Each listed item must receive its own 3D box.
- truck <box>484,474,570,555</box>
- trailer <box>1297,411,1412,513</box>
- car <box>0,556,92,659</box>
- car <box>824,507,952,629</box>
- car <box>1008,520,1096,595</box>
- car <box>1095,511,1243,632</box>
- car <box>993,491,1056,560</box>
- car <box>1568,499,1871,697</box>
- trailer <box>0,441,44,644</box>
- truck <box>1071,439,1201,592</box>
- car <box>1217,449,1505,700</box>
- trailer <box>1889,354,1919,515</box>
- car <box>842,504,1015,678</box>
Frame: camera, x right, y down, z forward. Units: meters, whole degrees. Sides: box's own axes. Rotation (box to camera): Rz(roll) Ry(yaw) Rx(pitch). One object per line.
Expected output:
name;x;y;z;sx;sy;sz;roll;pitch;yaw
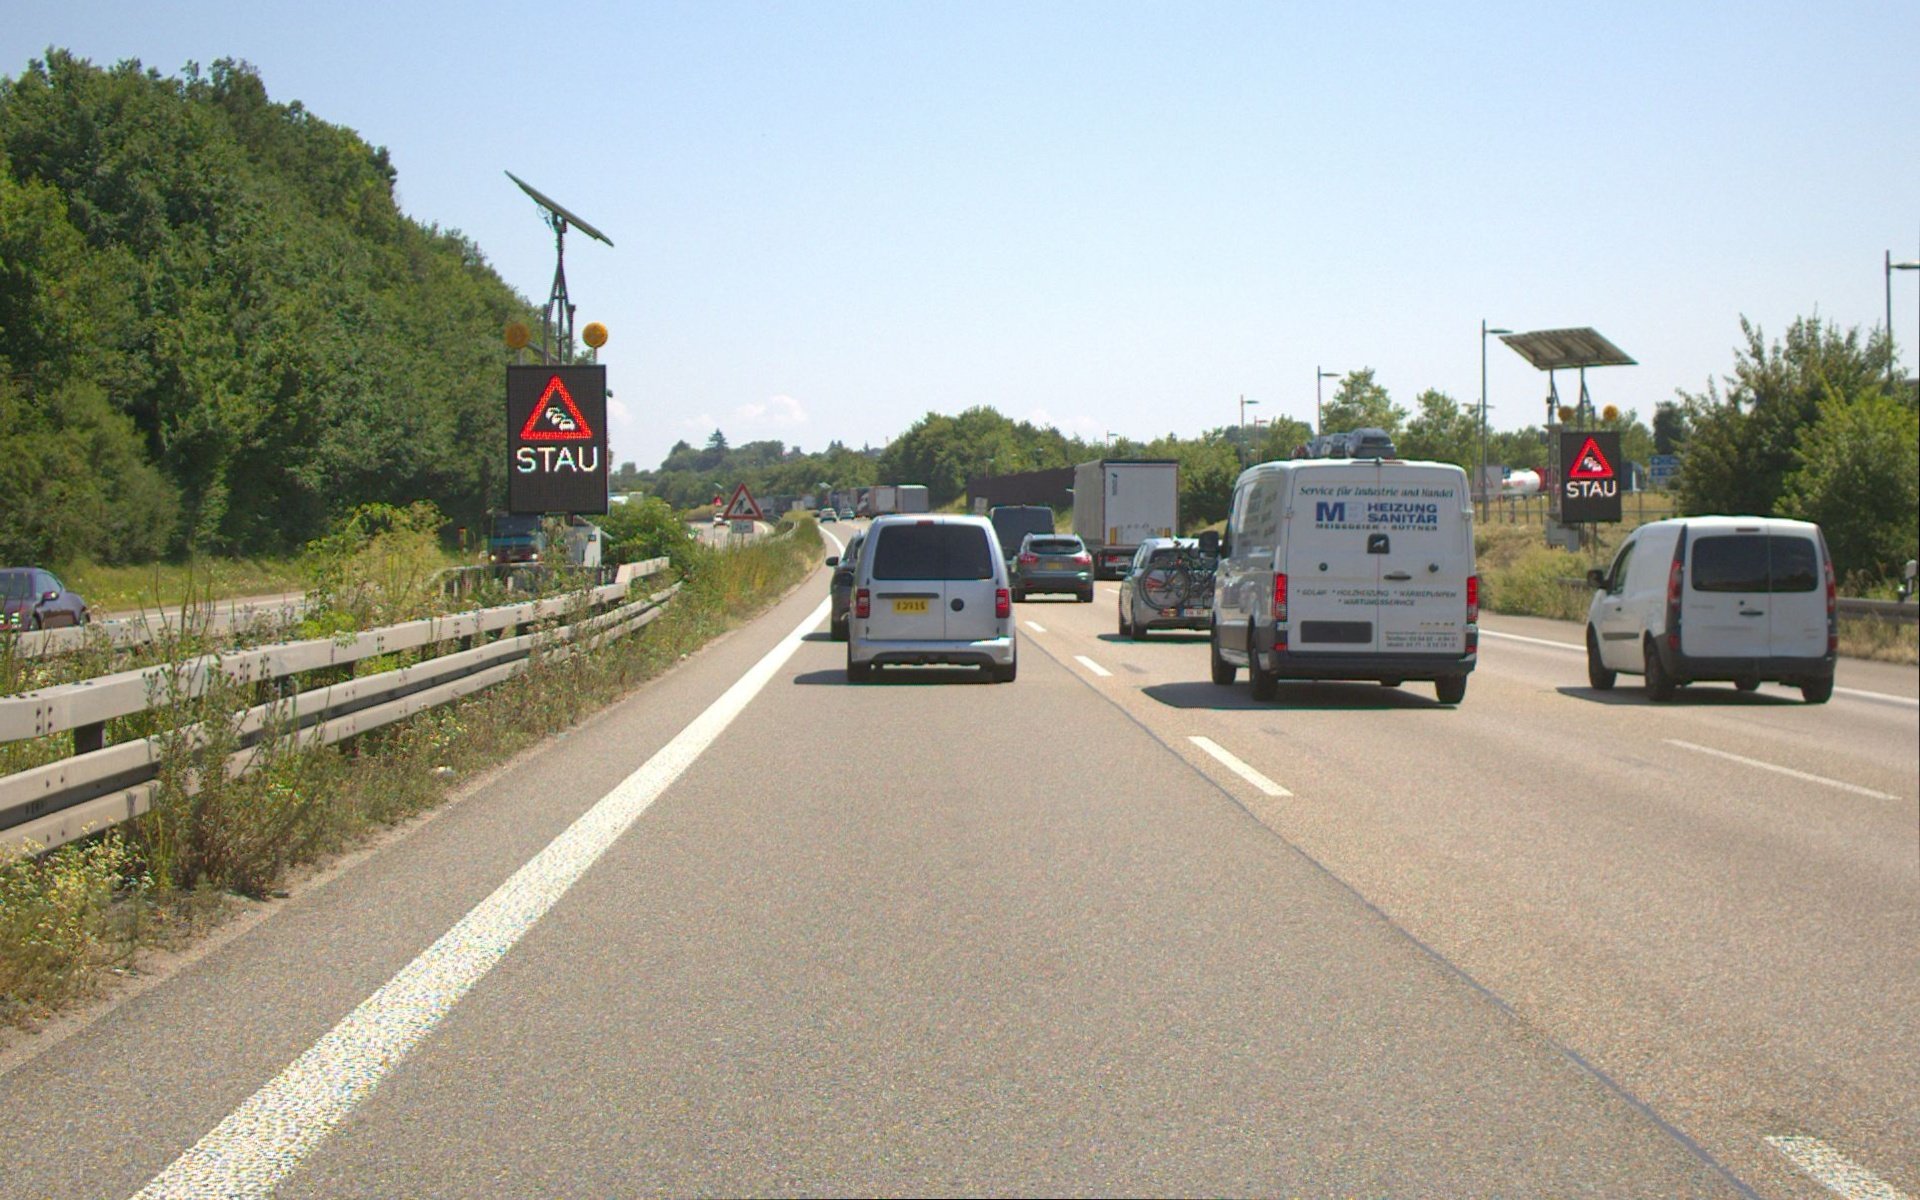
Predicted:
truck;-21.090;-4.161;167.883;2.996;3.789;10.790;-1;1;-1
trailer;18.028;-6.223;158.368;2.605;4.243;18.424;1;1;-2
car;-13.621;0.095;48.448;1.769;1.330;4.922;-2;1;-3
car;-1.023;-0.490;50.793;1.745;1.695;4.089;-1;1;0
car;2.112;-1.006;79.996;1.902;1.666;4.089;-1;1;0
car;3.117;-0.445;51.993;1.976;1.727;4.089;-1;1;0
car;1.812;-2.115;97.845;1.674;1.885;4.089;-1;1;0
car;7.506;-0.054;34.377;1.950;1.831;4.179;-1;1;-2
trailer;-18.150;-0.884;54.952;2.996;3.546;16.025;-1;1;-1
truck;6.002;-2.878;119.542;3.788;4.982;12.519;1;1;0
car;3.819;-0.276;33.709;2.181;2.246;5.363;1;1;0
trailer;26.120;-4.136;83.060;3.052;4.069;14.259;1;1;-2
car;-0.321;-0.126;37.236;1.745;1.758;4.089;-1;1;0
